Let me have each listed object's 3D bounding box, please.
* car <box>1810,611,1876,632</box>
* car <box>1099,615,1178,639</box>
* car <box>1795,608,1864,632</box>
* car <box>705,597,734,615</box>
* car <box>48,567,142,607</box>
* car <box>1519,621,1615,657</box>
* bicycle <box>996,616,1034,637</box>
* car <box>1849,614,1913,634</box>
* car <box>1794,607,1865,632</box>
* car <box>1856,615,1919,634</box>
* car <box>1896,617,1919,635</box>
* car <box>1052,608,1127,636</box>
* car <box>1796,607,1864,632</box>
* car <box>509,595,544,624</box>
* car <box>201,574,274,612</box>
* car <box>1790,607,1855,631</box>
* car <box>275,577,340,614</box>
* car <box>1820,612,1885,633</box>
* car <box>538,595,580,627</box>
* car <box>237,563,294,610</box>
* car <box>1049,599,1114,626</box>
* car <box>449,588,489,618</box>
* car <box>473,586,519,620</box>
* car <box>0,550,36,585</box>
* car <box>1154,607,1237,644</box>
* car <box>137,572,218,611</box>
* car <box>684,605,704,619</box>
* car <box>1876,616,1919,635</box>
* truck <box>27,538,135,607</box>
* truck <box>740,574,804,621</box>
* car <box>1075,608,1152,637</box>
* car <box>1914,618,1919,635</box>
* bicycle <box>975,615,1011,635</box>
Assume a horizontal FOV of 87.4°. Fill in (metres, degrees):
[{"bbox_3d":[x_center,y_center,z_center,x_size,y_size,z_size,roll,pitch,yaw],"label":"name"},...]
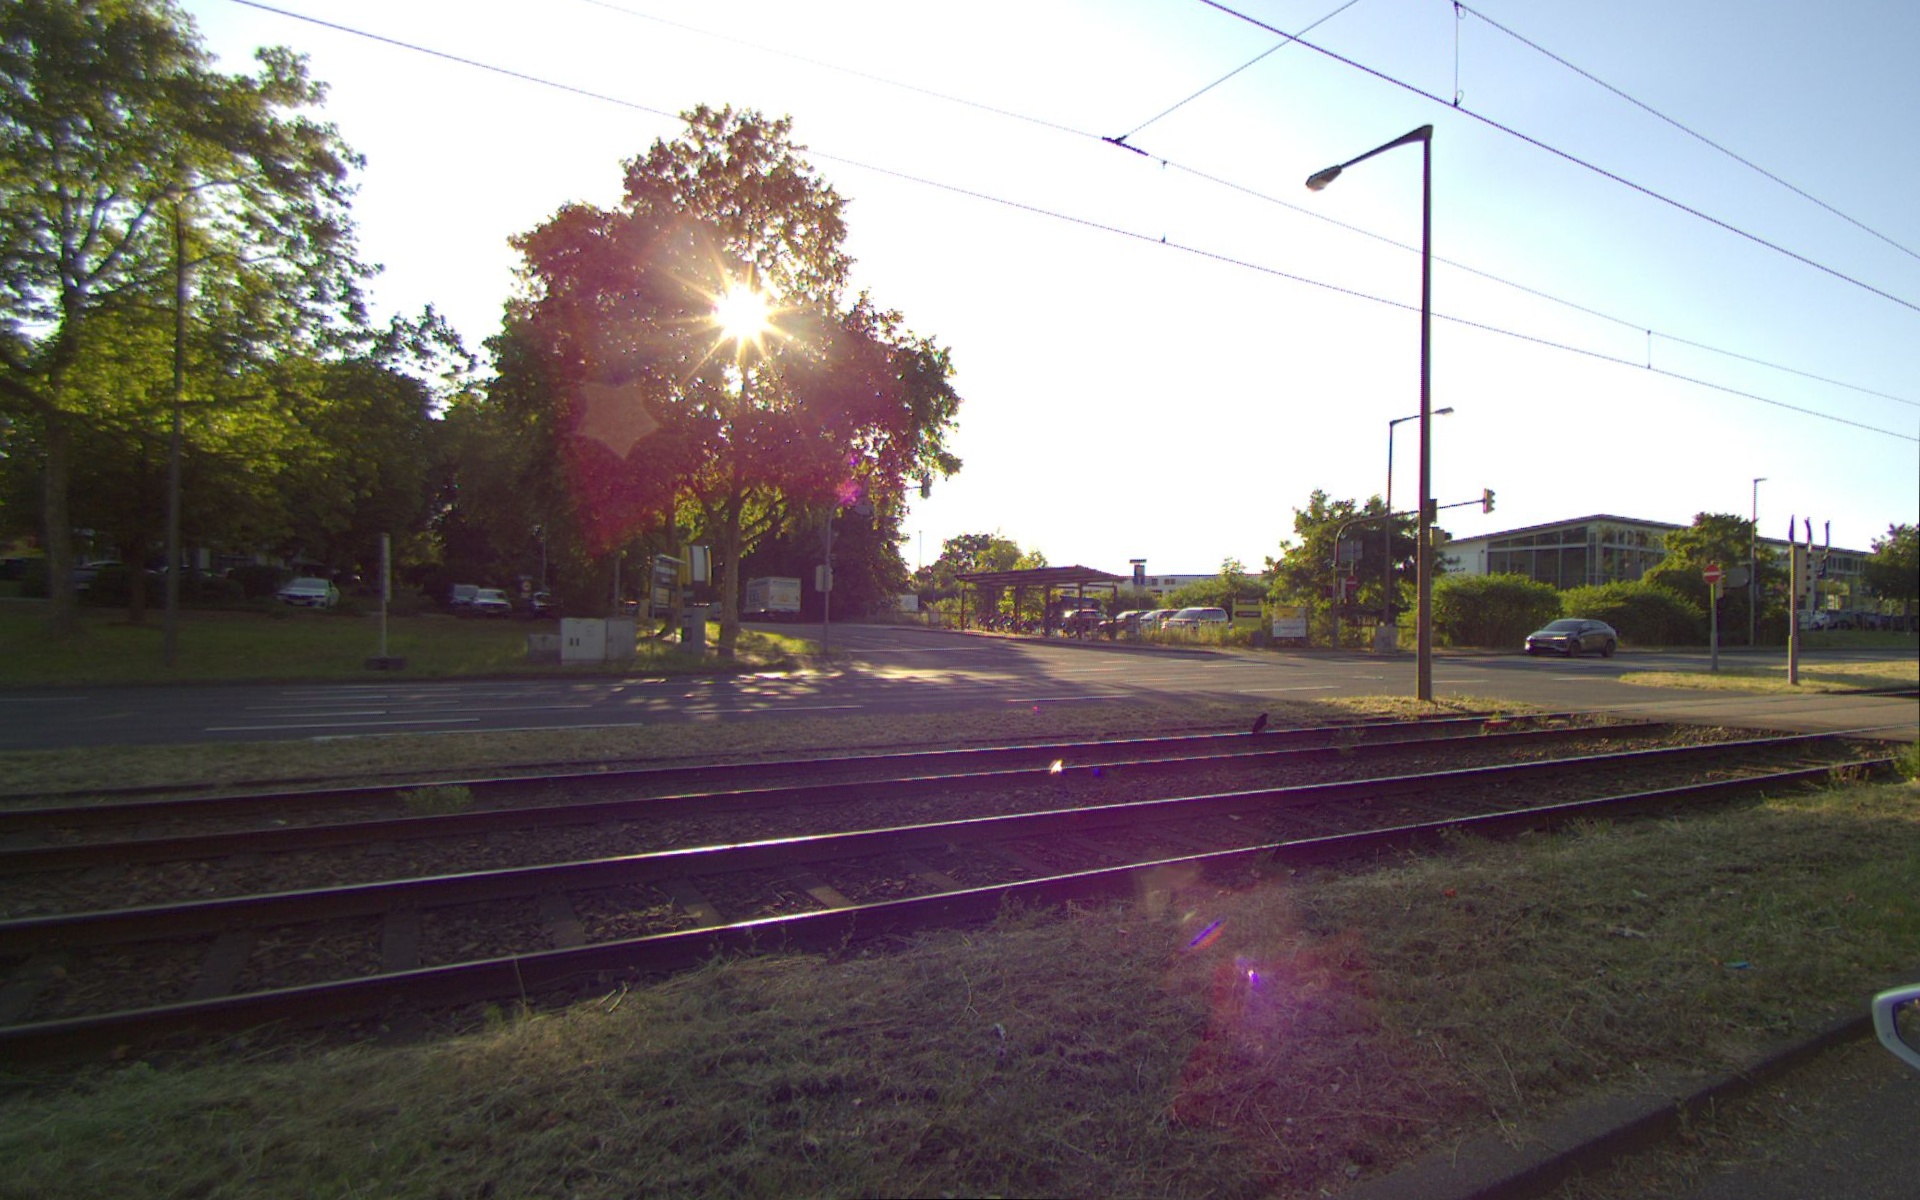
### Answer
[{"bbox_3d":[71.994,1.755,81.942,3.940,1.577,1.735,1,0,40],"label":"car"},{"bbox_3d":[9.945,1.498,55.866,4.123,1.284,1.853,1,0,-30],"label":"car"},{"bbox_3d":[66.731,1.500,77.169,3.940,1.727,1.735,1,0,40],"label":"car"},{"bbox_3d":[-22.771,0.589,94.992,1.711,1.603,4.028,1,0,-27],"label":"car"},{"bbox_3d":[-36.083,-0.536,42.019,1.916,1.530,4.071,2,0,-26],"label":"car"},{"bbox_3d":[26.947,1.704,44.592,4.120,1.501,1.854,1,0,-29],"label":"car"},{"bbox_3d":[3.074,1.488,56.411,2.004,1.119,0.777,2,0,-30],"label":"bicycle"},{"bbox_3d":[79.619,2.072,86.890,3.940,1.577,1.735,1,0,40],"label":"car"},{"bbox_3d":[65.185,1.450,75.369,3.940,1.727,1.735,1,0,40],"label":"car"},{"bbox_3d":[81.772,2.160,88.508,1.728,1.576,3.957,1,0,-37],"label":"car"},{"bbox_3d":[88.388,2.393,91.740,1.725,1.642,3.962,1,0,-34],"label":"car"},{"bbox_3d":[7.722,1.303,59.992,4.123,1.604,1.968,1,0,-30],"label":"car"},{"bbox_3d":[68.369,1.498,78.981,3.940,1.840,1.735,1,0,40],"label":"car"},{"bbox_3d":[-26.199,0.526,60.689,1.836,1.637,4.036,2,0,-23],"label":"car"},{"bbox_3d":[-32.109,-0.301,44.755,1.916,1.530,4.071,2,0,-26],"label":"car"},{"bbox_3d":[69.331,1.516,80.826,3.940,1.840,1.735,1,0,40],"label":"car"},{"bbox_3d":[-29.428,-0.200,45.437,1.916,1.530,4.071,2,0,-26],"label":"car"},{"bbox_3d":[74.214,1.851,83.609,3.940,1.577,1.735,1,0,40],"label":"car"},{"bbox_3d":[-20.435,0.541,51.136,1.604,1.477,3.878,2,0,-27],"label":"car"},{"bbox_3d":[-37.292,-0.728,54.006,2.138,2.334,4.370,2,0,-31],"label":"car"},{"bbox_3d":[9.293,0.951,76.663,4.715,2.041,1.853,1,0,-30],"label":"car"},{"bbox_3d":[-28.568,0.148,58.493,1.836,1.637,4.036,2,0,-23],"label":"car"},{"bbox_3d":[-22.930,0.129,49.587,1.916,1.530,4.071,2,0,-26],"label":"car"},{"bbox_3d":[-53.855,-1.855,56.381,2.274,1.875,5.220,2,0,-36],"label":"car"},{"bbox_3d":[12.367,1.337,52.734,4.123,1.846,1.853,1,0,-30],"label":"car"},{"bbox_3d":[-33.951,-0.374,43.683,1.916,1.530,4.071,2,0,-26],"label":"car"},{"bbox_3d":[-33.237,1.472,125.390,1.887,1.602,4.036,2,0,-21],"label":"car"},{"bbox_3d":[84.918,2.283,90.001,1.726,1.576,3.960,1,0,-35],"label":"car"},{"bbox_3d":[-44.508,-1.318,51.064,2.468,3.209,6.187,2,0,-26],"label":"truck"},{"bbox_3d":[-15.042,-0.205,79.788,2.782,3.520,8.291,1,0,-27],"label":"truck"},{"bbox_3d":[8.826,1.296,57.797,4.123,1.604,1.853,1,0,-30],"label":"car"},{"bbox_3d":[91.304,2.509,93.020,1.725,1.642,3.962,1,0,-34],"label":"car"},{"bbox_3d":[1.933,1.466,59.047,2.004,1.119,0.777,2,0,-30],"label":"bicycle"}]
